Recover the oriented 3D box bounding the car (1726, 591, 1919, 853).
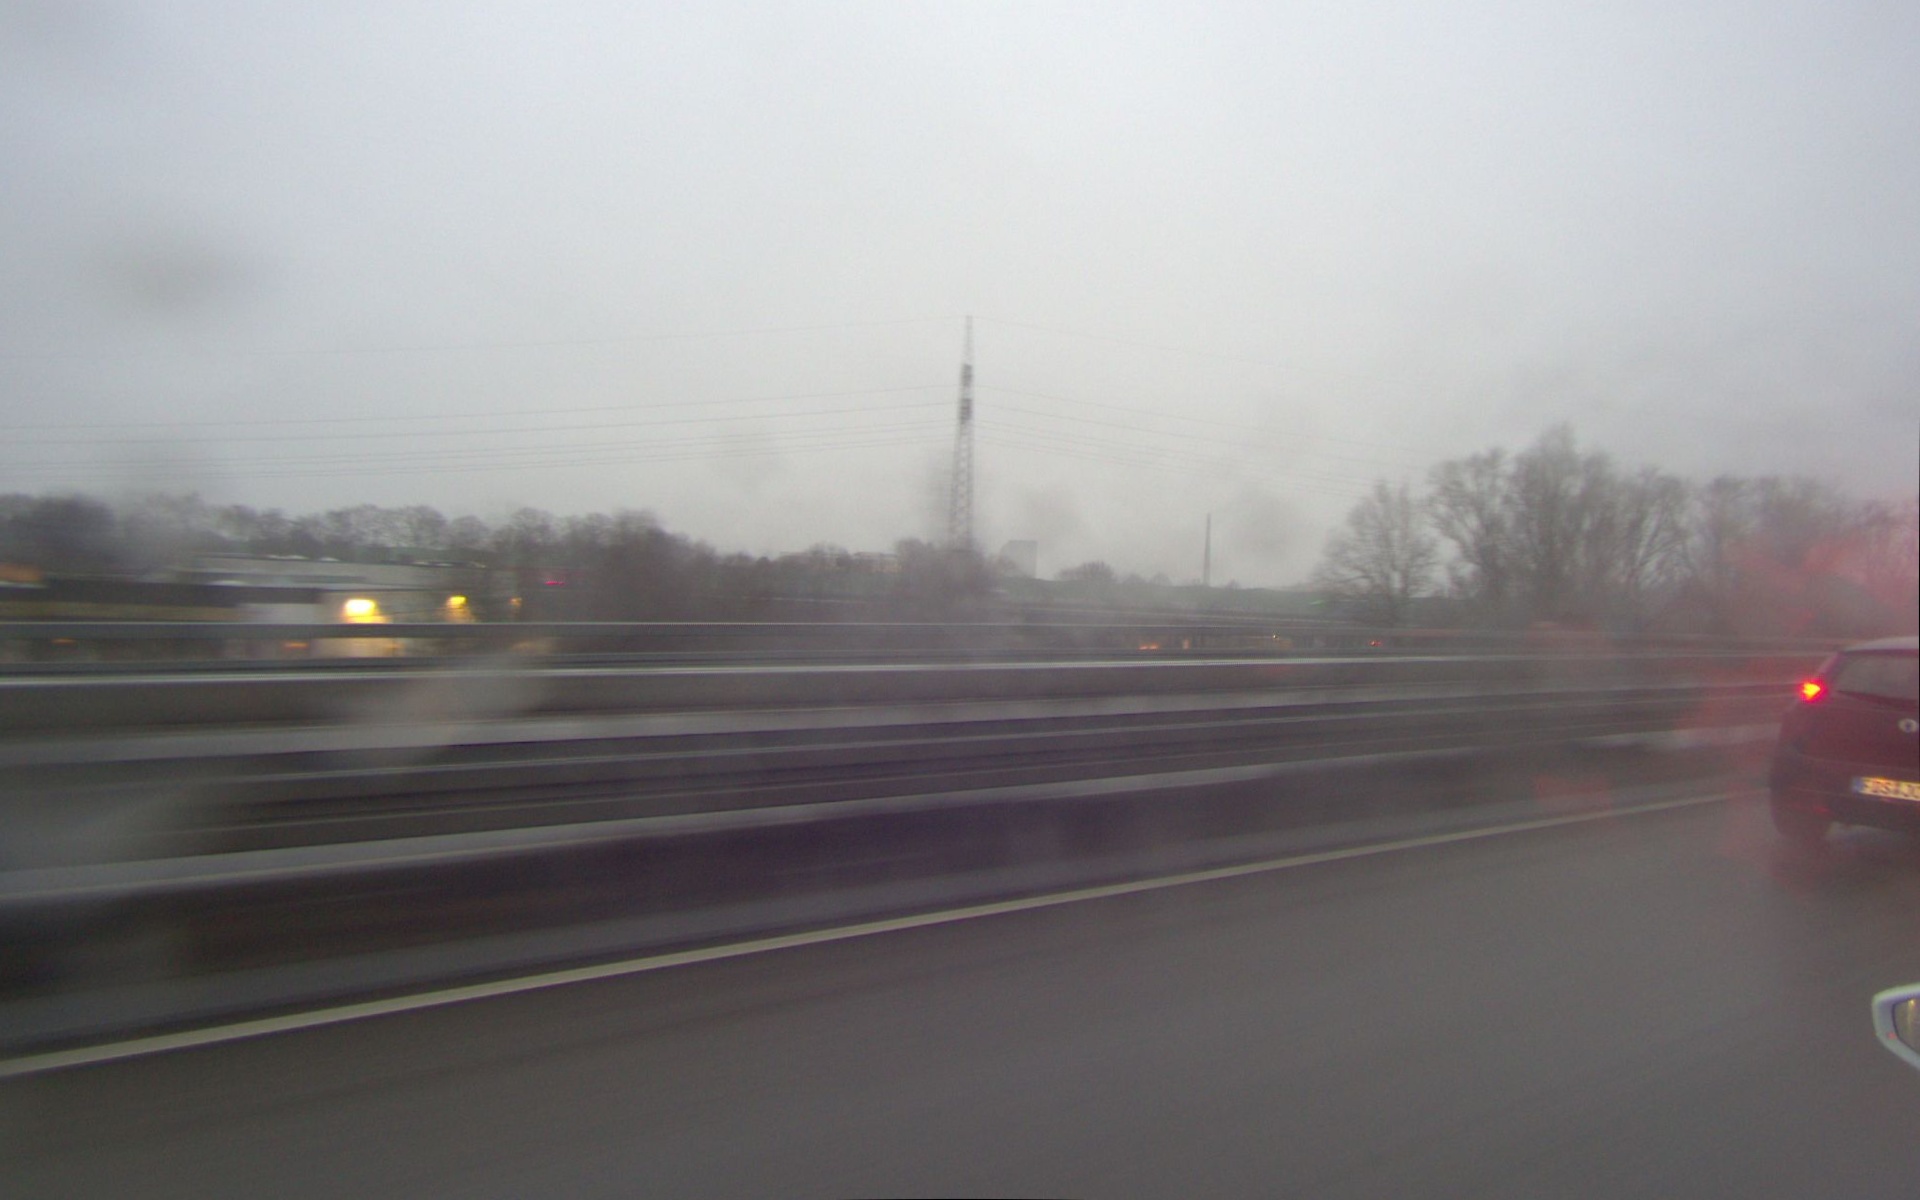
[{"bbox_3d":[7.383,0.782,7.068,3.993,1.553,1.723,2,-1,-29],"label":"car"}]
